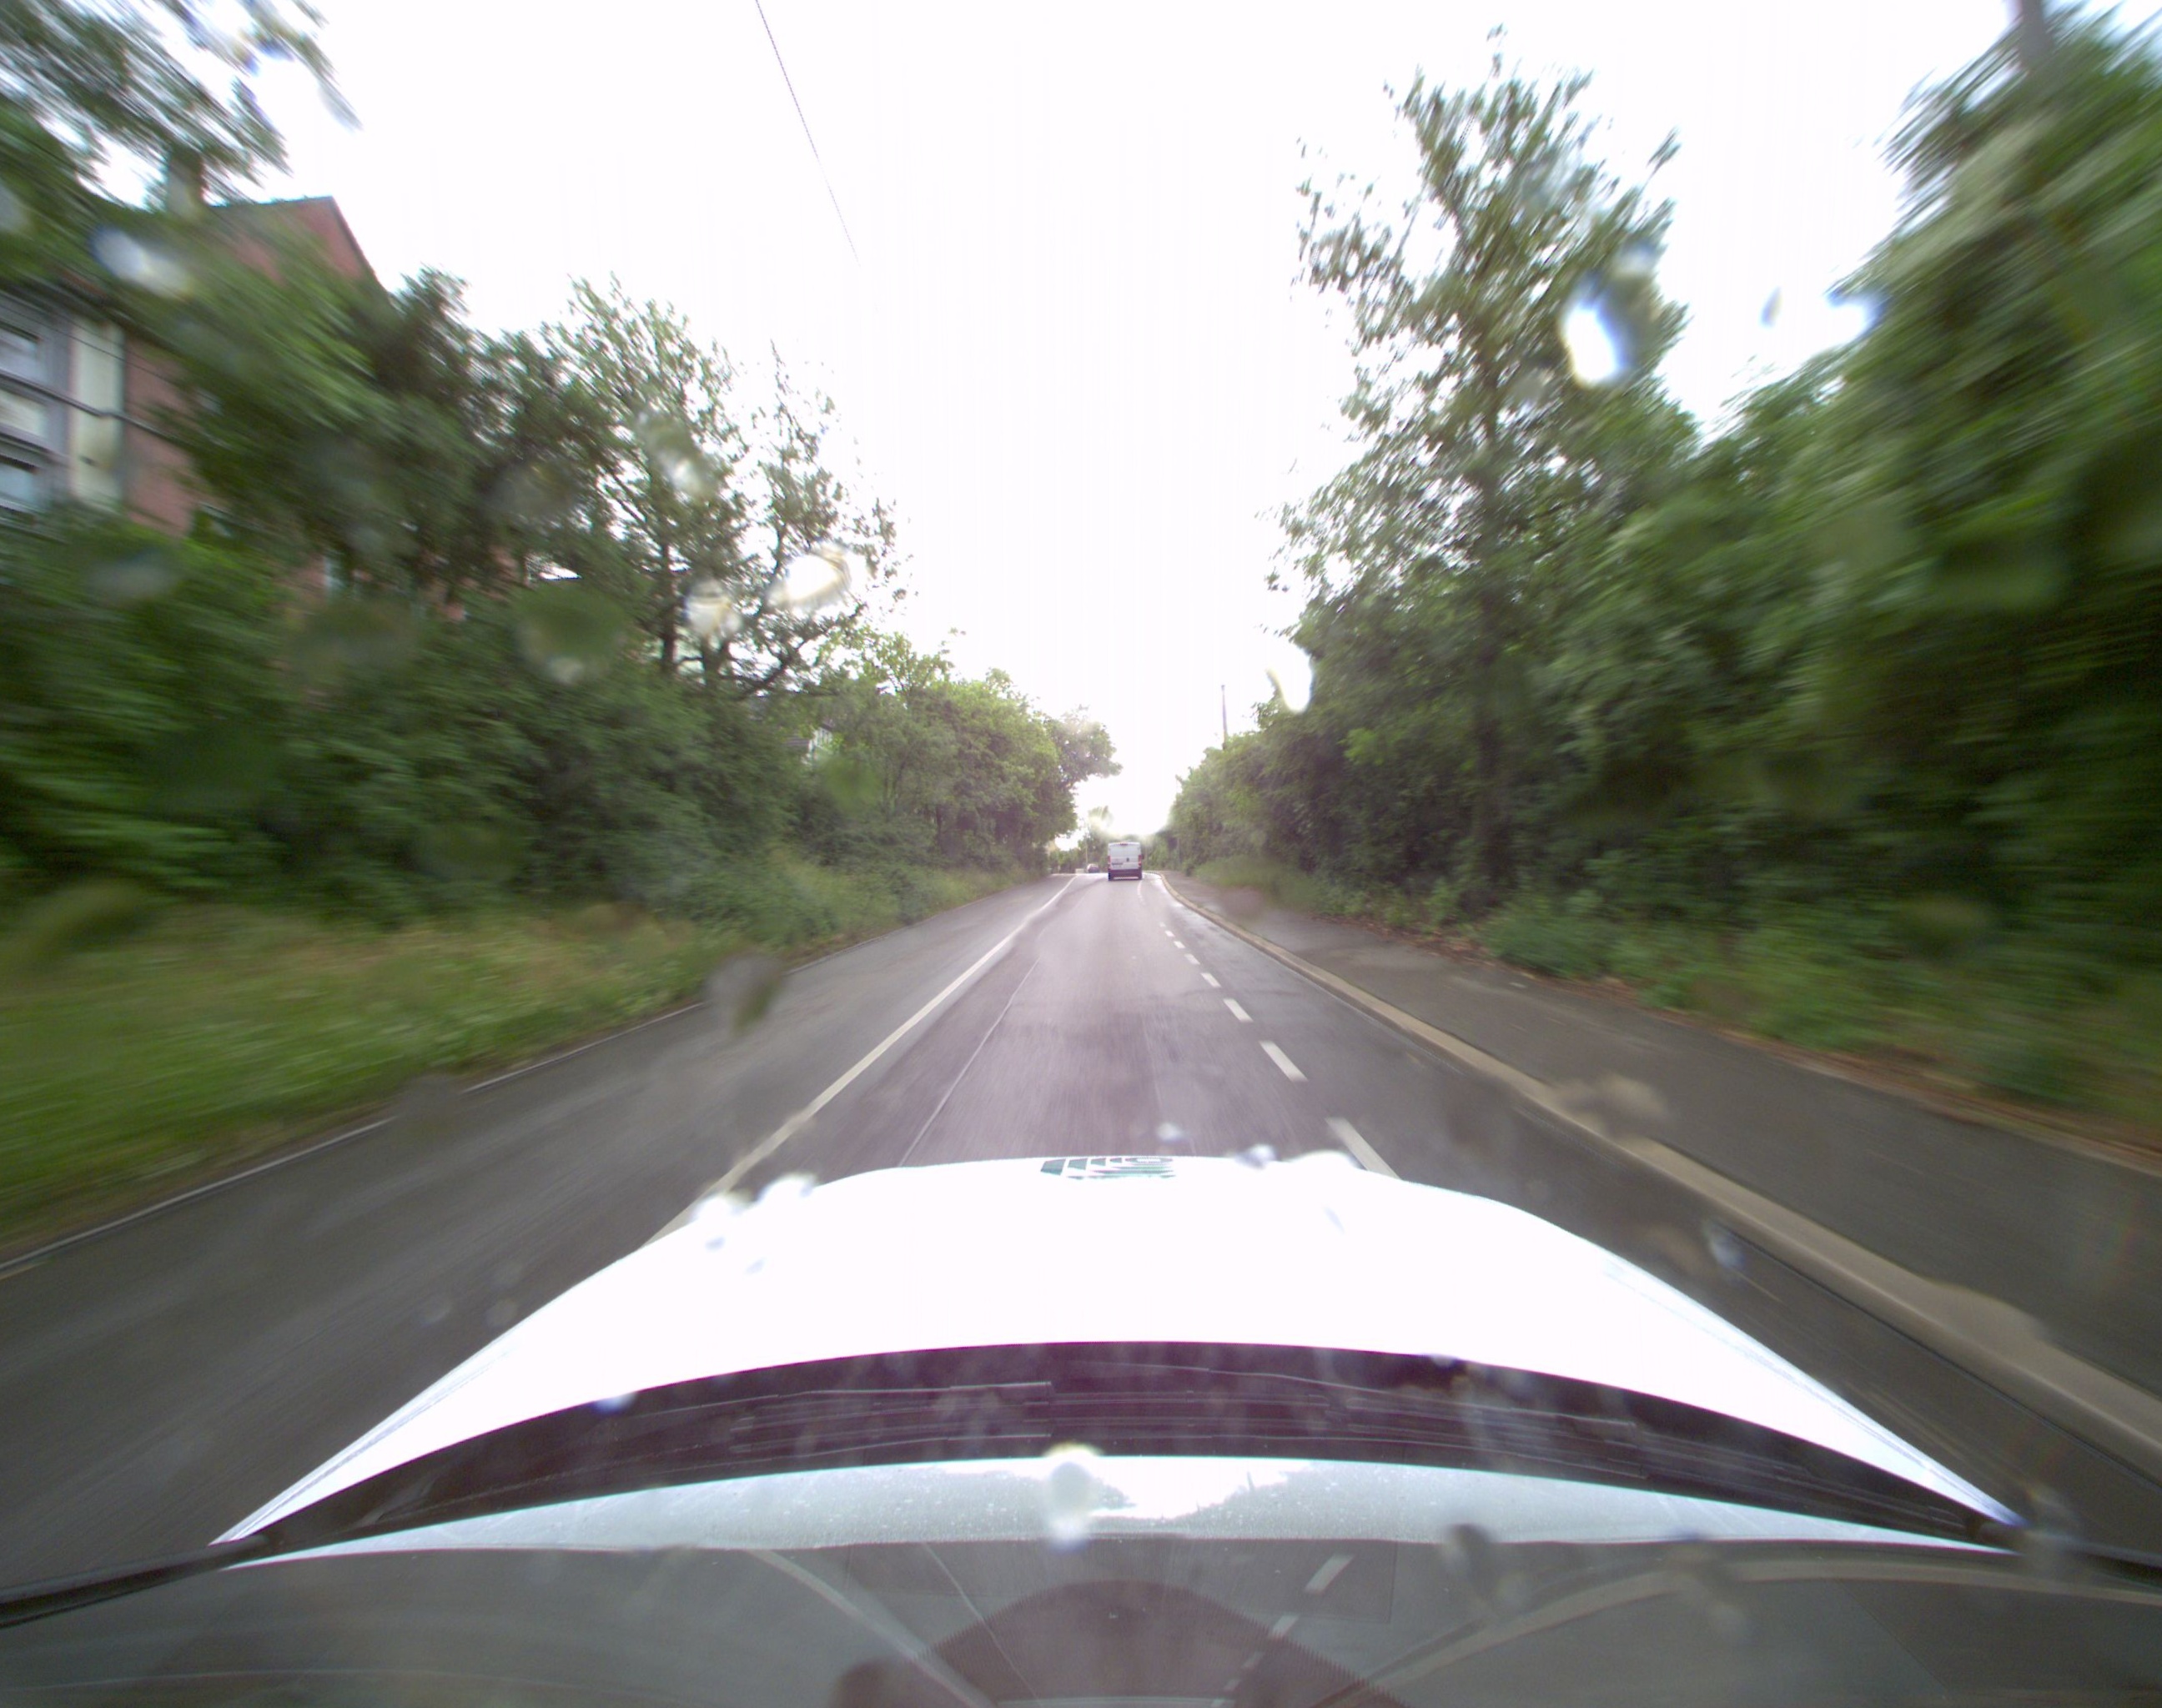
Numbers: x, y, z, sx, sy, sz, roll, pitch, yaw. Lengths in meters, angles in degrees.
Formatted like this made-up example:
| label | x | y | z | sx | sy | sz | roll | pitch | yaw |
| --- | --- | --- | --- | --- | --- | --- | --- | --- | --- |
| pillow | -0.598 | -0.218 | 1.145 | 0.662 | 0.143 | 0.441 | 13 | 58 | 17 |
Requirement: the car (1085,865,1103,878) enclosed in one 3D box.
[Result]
| label | x | y | z | sx | sy | sz | roll | pitch | yaw |
| --- | --- | --- | --- | --- | --- | --- | --- | --- | --- |
| car | 1.964 | 2.495 | 119.834 | 2.226 | 1.804 | 4.722 | 0 | 0 | 7 |

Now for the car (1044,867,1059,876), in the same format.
| label | x | y | z | sx | sy | sz | roll | pitch | yaw |
| --- | --- | --- | --- | --- | --- | --- | --- | --- | --- |
| car | -5.707 | 3.370 | 157.774 | 2.112 | 1.711 | 4.695 | 0 | 0 | -11 |

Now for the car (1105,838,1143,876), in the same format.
| label | x | y | z | sx | sy | sz | roll | pitch | yaw |
| --- | --- | --- | --- | --- | --- | --- | --- | --- | --- |
| car | 2.582 | 0.188 | 50.172 | 2.229 | 2.213 | 4.714 | 0 | 0 | 1 |
